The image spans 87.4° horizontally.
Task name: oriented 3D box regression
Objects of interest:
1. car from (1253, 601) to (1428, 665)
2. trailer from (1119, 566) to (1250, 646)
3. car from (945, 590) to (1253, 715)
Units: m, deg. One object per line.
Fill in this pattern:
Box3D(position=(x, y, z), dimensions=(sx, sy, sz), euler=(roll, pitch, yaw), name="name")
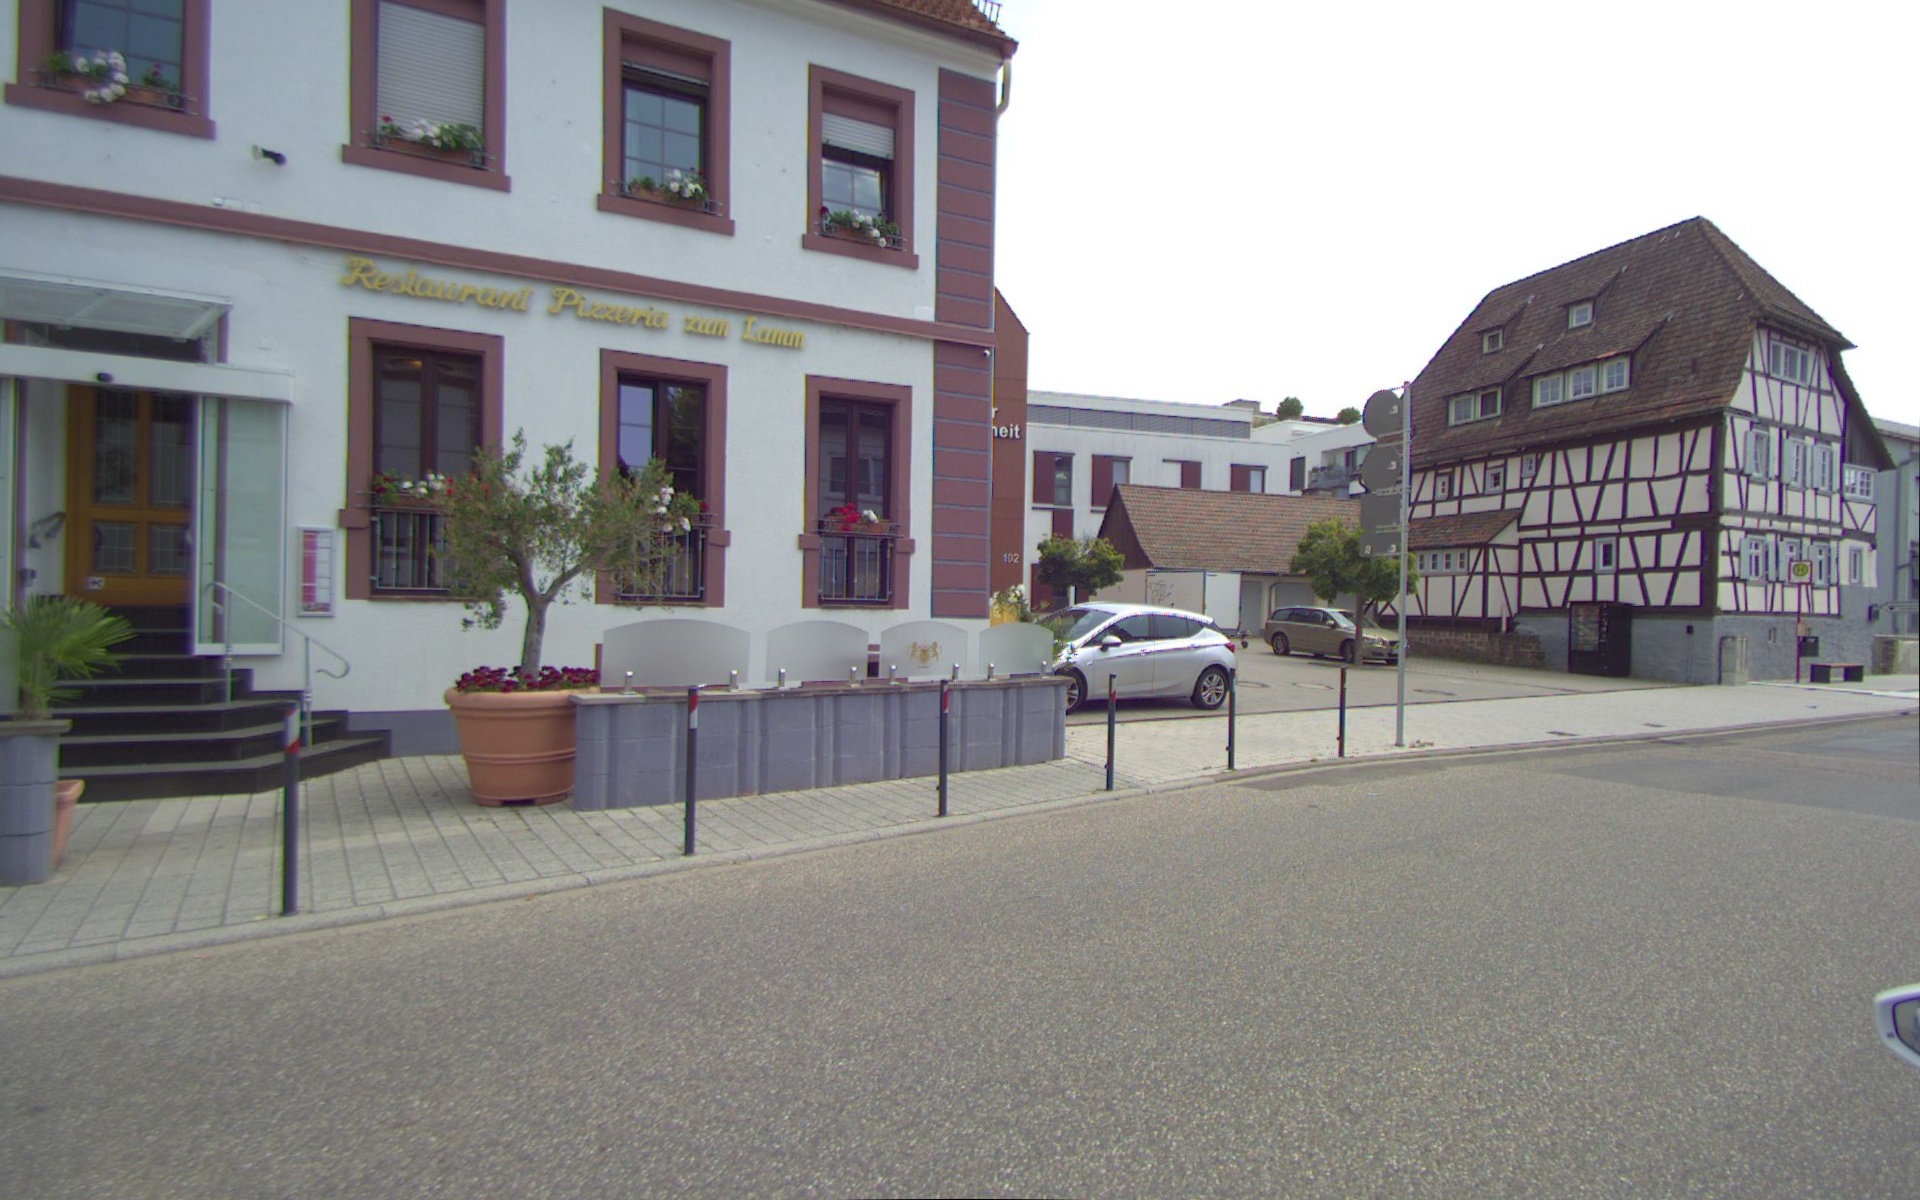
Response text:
Box3D(position=(10.535, 0.874, 28.196), dimensions=(1.939, 1.407, 4.410), euler=(1, 3, -26), name="car")
Box3D(position=(7.597, 0.136, 34.472), dimensions=(1.939, 2.458, 4.409), euler=(2, 2, -27), name="trailer")
Box3D(position=(2.071, 0.726, 14.740), dimensions=(4.223, 1.512, 1.750), euler=(2, 4, -29), name="car")
